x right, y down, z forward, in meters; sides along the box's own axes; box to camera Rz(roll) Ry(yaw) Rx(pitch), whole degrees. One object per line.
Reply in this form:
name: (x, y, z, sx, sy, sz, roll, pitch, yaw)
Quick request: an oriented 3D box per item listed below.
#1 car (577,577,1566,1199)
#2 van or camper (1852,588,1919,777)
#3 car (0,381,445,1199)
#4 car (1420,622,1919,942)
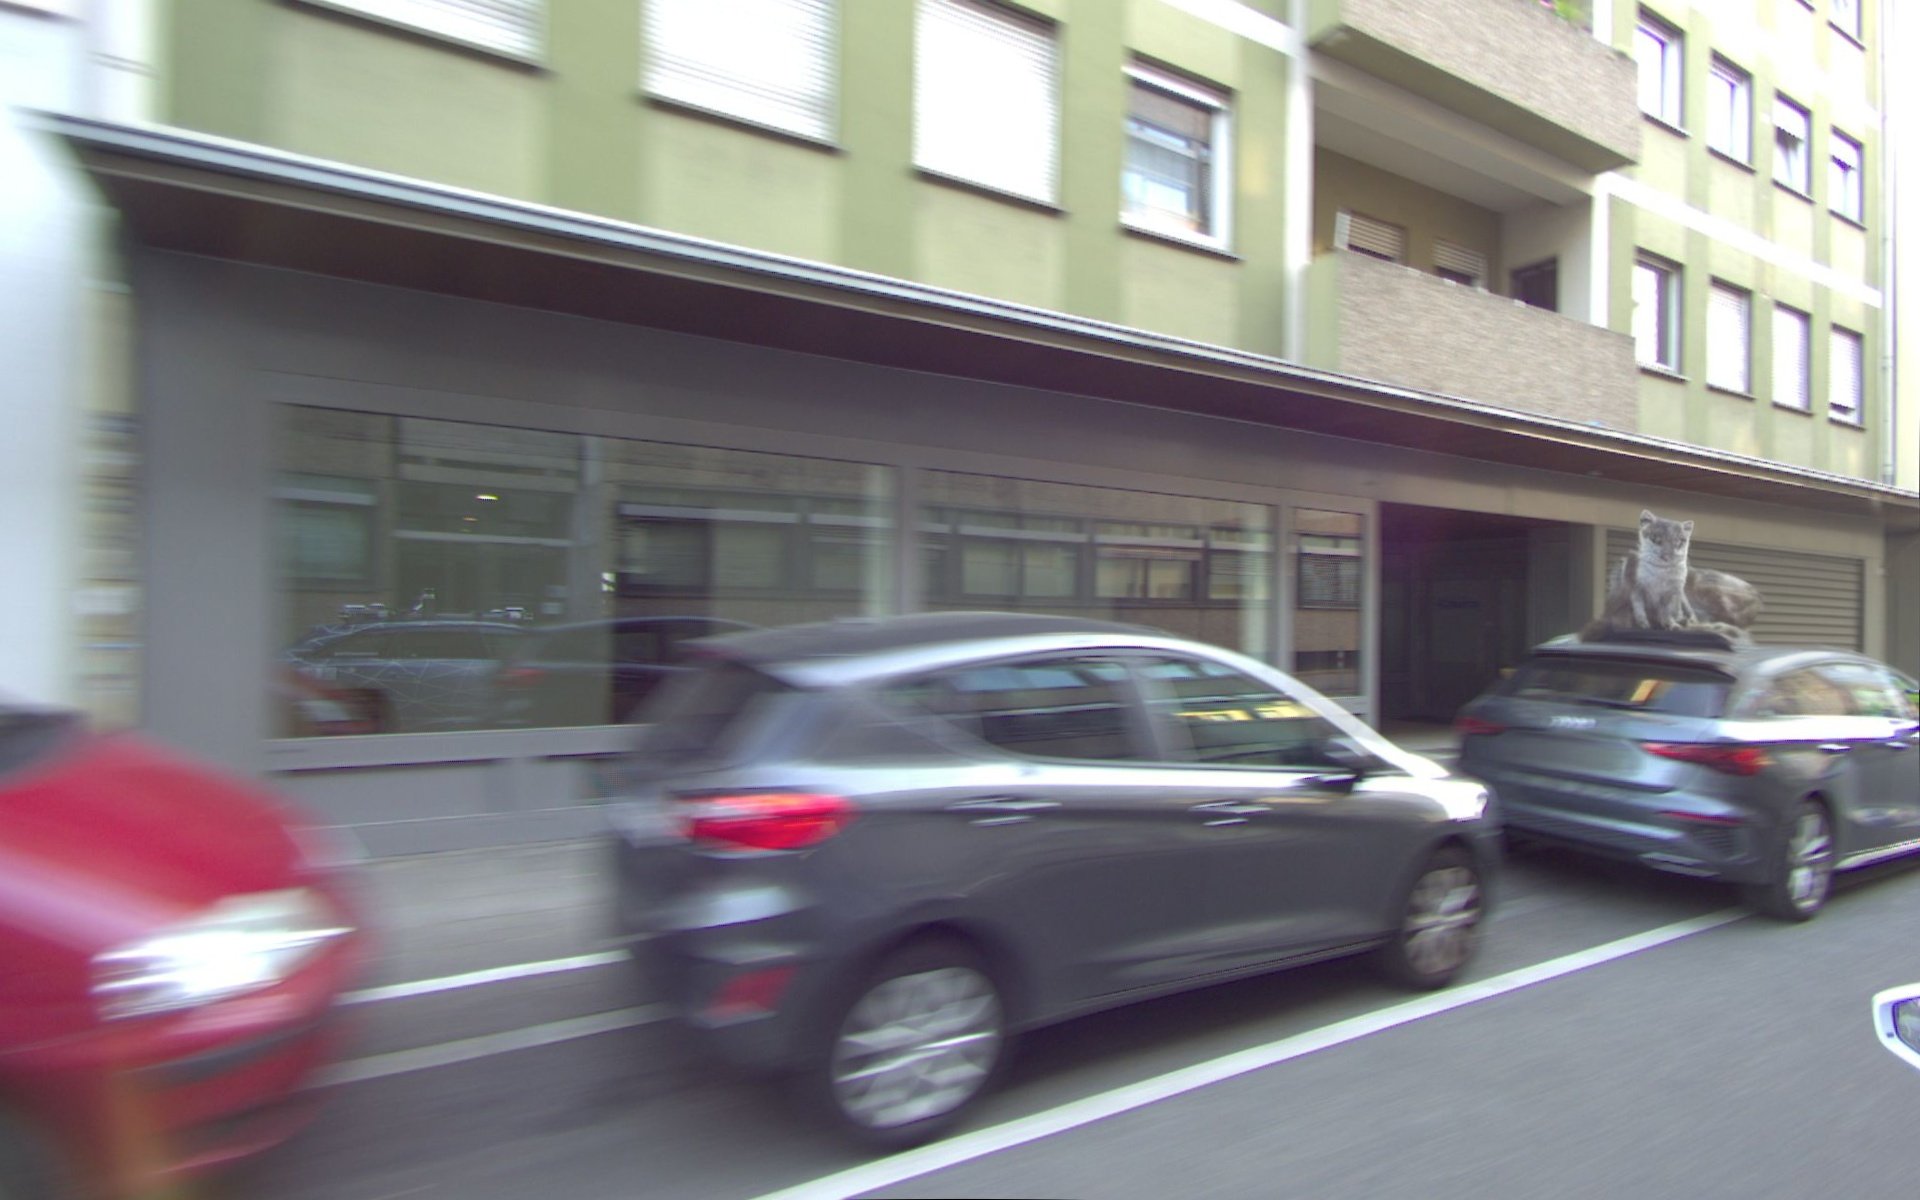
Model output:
car: (0.598, 0.762, 4.109, 3.832, 1.504, 1.616, 2, -2, -30)
van or camper: (11.510, 0.860, 10.715, 4.128, 1.872, 1.764, 1, -2, -30)
car: (-3.487, 0.484, 1.770, 4.460, 1.835, 1.763, 2, -1, -32)
car: (4.835, 0.904, 6.350, 3.937, 1.434, 1.615, 2, -1, -32)
